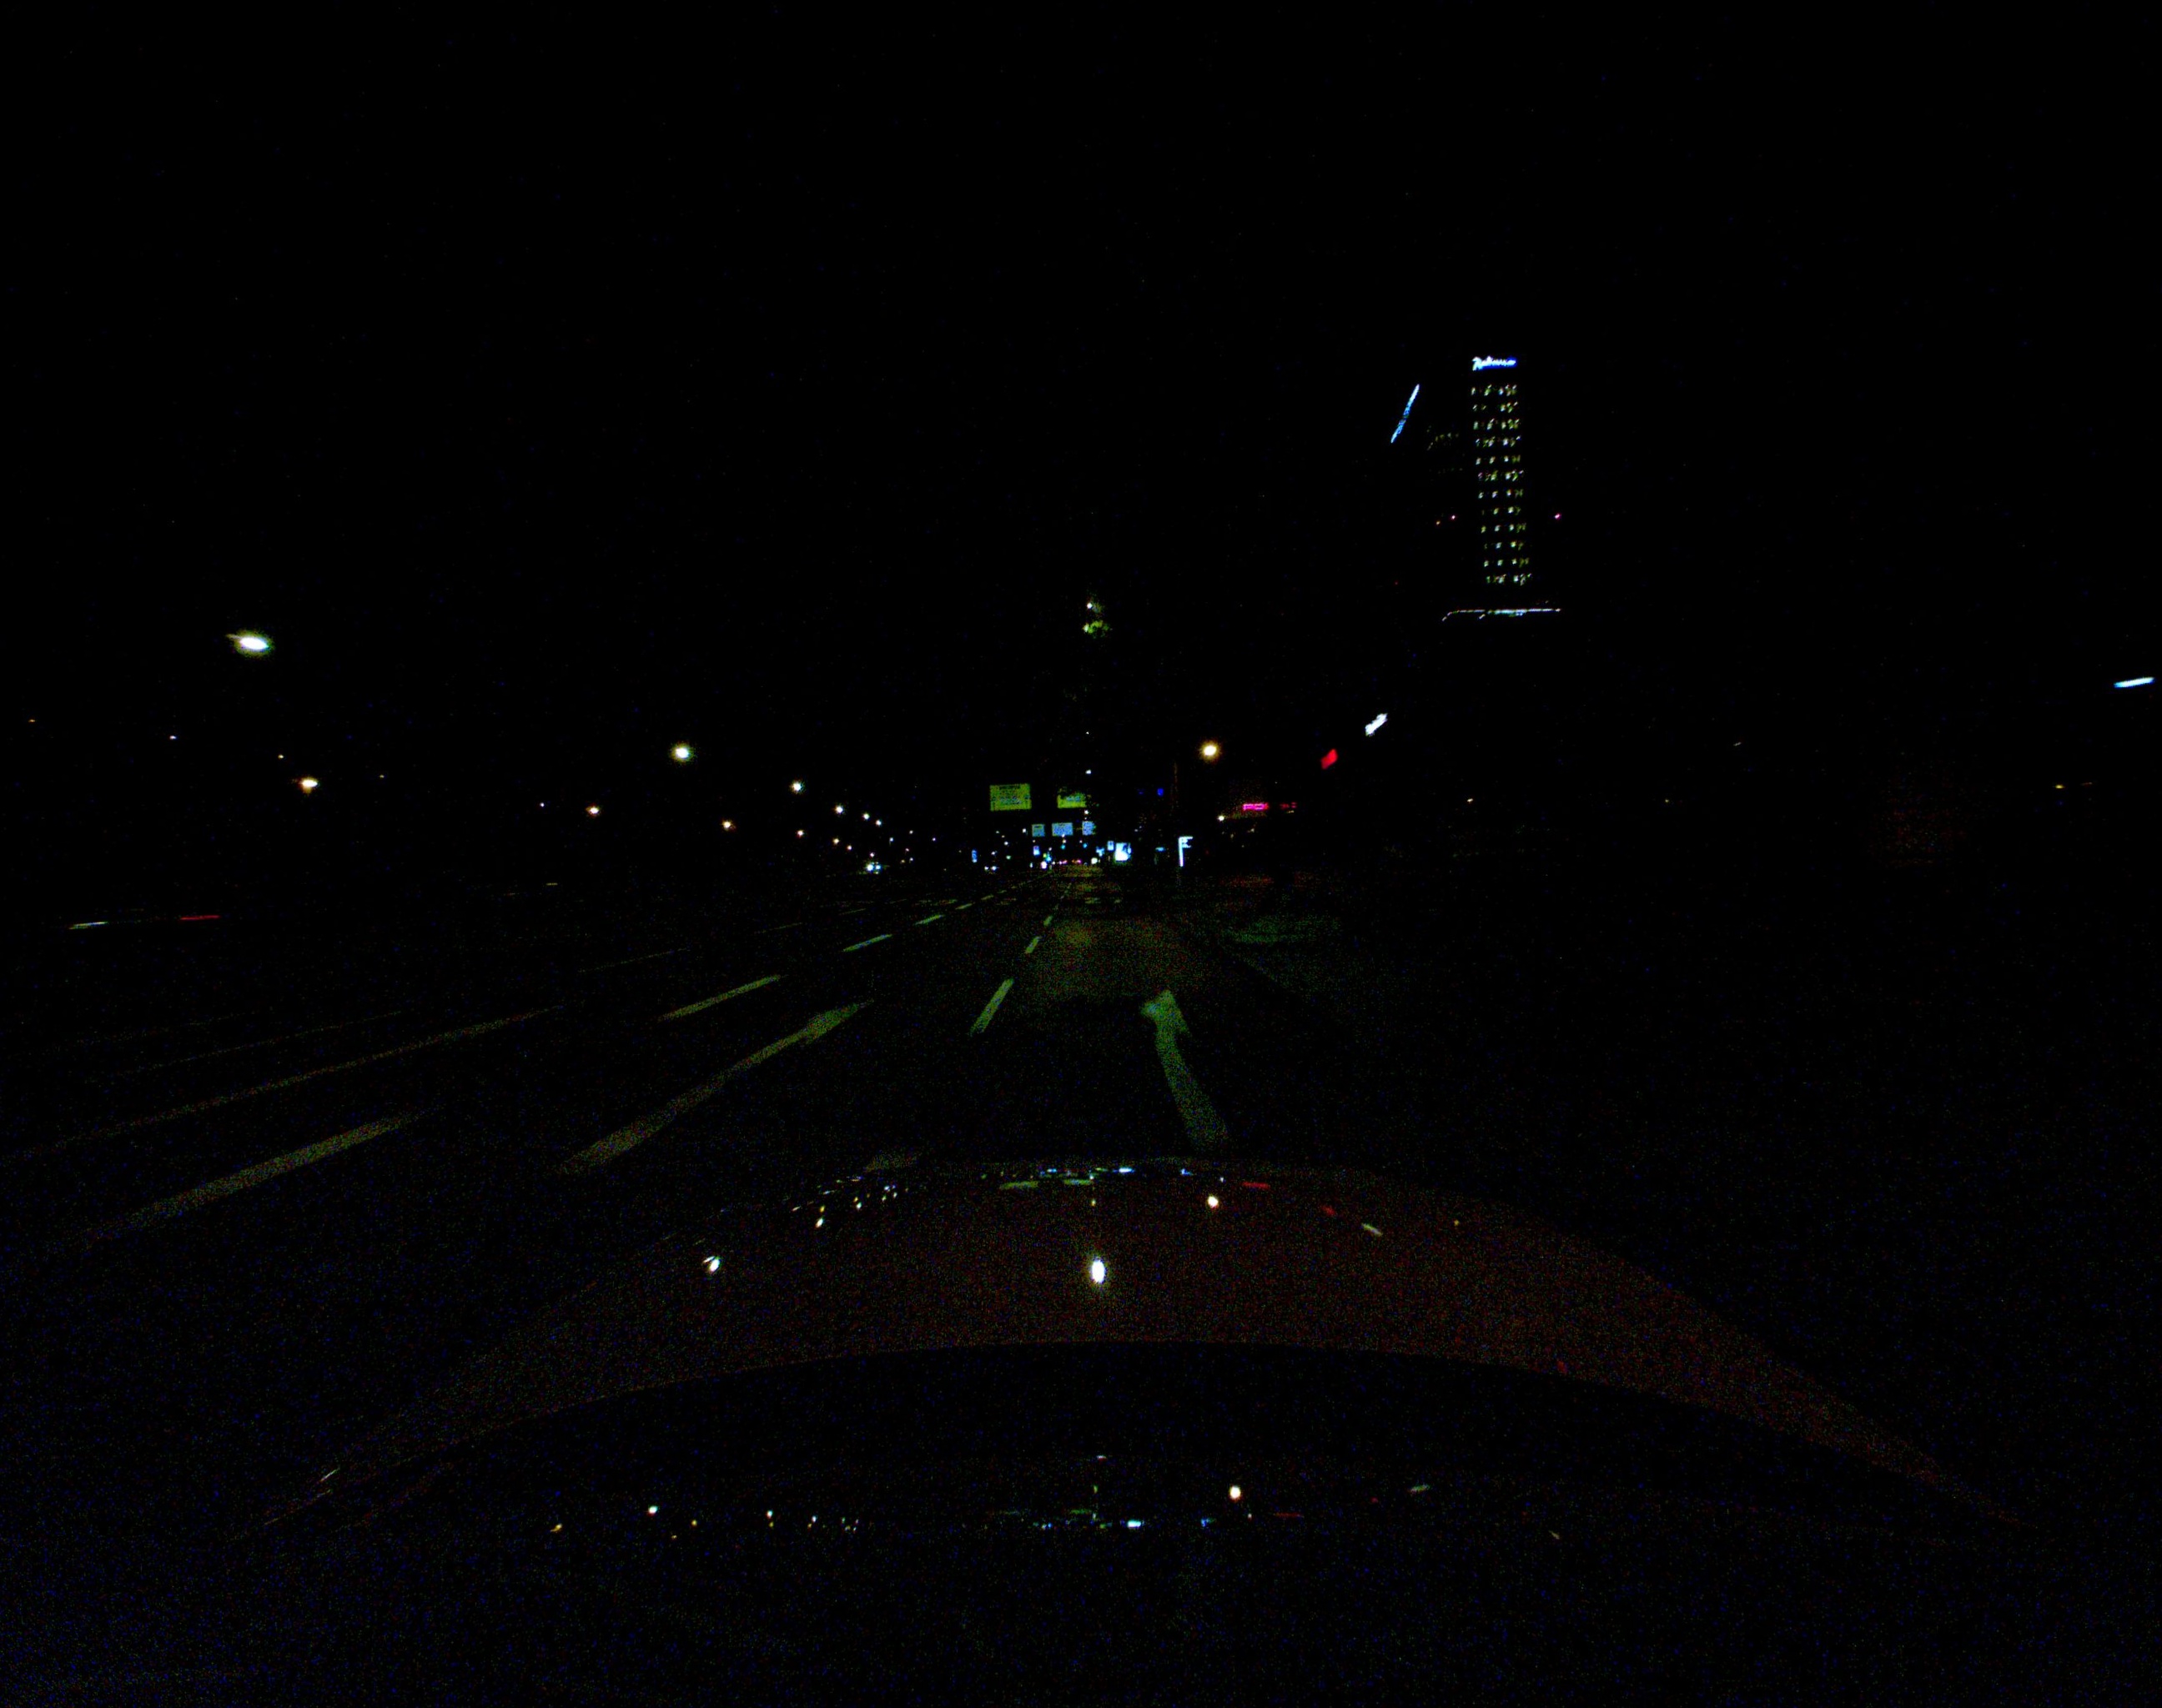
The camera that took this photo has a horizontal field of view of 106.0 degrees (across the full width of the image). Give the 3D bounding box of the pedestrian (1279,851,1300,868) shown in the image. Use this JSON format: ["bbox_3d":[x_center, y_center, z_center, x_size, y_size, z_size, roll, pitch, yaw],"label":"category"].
[{"bbox_3d":[12.885,0.348,50.290,0.999,1.008,0.767,-1,-2,-15],"label":"pedestrian"}]

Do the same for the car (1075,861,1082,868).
[{"bbox_3d":[-0.762,2.880,225.542,1.775,1.728,3.999,-1,-2,0],"label":"car"}]

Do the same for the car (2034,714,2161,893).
[{"bbox_3d":[11.003,-0.581,7.758,3.856,1.490,1.723,-4,-3,-30],"label":"car"}]

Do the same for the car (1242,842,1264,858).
[{"bbox_3d":[17.015,-0.375,80.723,1.882,1.511,3.643,-1,-2,7],"label":"car"}]

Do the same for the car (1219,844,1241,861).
[{"bbox_3d":[14.469,-0.162,79.316,1.882,1.511,3.643,-1,-2,7],"label":"car"}]

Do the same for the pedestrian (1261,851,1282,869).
[{"bbox_3d":[11.752,0.385,50.224,0.902,1.038,0.776,-4,-2,44],"label":"pedestrian"}]

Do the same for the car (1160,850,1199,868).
[{"bbox_3d":[10.904,0.560,90.399,3.978,1.856,1.819,-1,-2,-4],"label":"car"}]

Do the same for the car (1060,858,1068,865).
[{"bbox_3d":[-4.581,2.014,224.060,1.987,1.596,4.000,-3,-2,1],"label":"car"}]

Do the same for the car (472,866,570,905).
[{"bbox_3d":[-26.173,1.411,38.232,1.794,1.695,4.000,-1,-1,0],"label":"car"}]

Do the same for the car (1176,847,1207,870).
[{"bbox_3d":[9.896,0.461,72.685,1.977,1.945,4.018,-2,-2,18],"label":"car"}]

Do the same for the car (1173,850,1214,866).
[{"bbox_3d":[10.770,0.396,77.931,3.616,1.451,1.705,-1,-2,-4],"label":"car"}]

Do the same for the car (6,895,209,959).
[{"bbox_3d":[-31.627,2.316,26.665,1.826,1.684,3.998,-1,0,-1],"label":"car"}]

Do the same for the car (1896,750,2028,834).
[{"bbox_3d":[19.765,-1.425,18.408,1.713,1.526,3.808,-8,-1,45],"label":"car"}]

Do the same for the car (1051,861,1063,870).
[{"bbox_3d":[-4.739,2.318,163.008,1.960,1.711,4.002,-1,-2,3],"label":"car"}]

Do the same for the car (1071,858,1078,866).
[{"bbox_3d":[-1.710,2.192,215.363,1.987,2.014,3.999,-1,-2,0],"label":"car"}]

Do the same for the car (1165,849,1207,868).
[{"bbox_3d":[10.759,0.497,83.392,3.978,1.856,1.819,-1,-2,-4],"label":"car"}]

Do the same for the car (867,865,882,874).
[{"bbox_3d":[-36.120,2.785,142.247,1.619,1.481,3.679,-1,-2,1],"label":"car"}]
